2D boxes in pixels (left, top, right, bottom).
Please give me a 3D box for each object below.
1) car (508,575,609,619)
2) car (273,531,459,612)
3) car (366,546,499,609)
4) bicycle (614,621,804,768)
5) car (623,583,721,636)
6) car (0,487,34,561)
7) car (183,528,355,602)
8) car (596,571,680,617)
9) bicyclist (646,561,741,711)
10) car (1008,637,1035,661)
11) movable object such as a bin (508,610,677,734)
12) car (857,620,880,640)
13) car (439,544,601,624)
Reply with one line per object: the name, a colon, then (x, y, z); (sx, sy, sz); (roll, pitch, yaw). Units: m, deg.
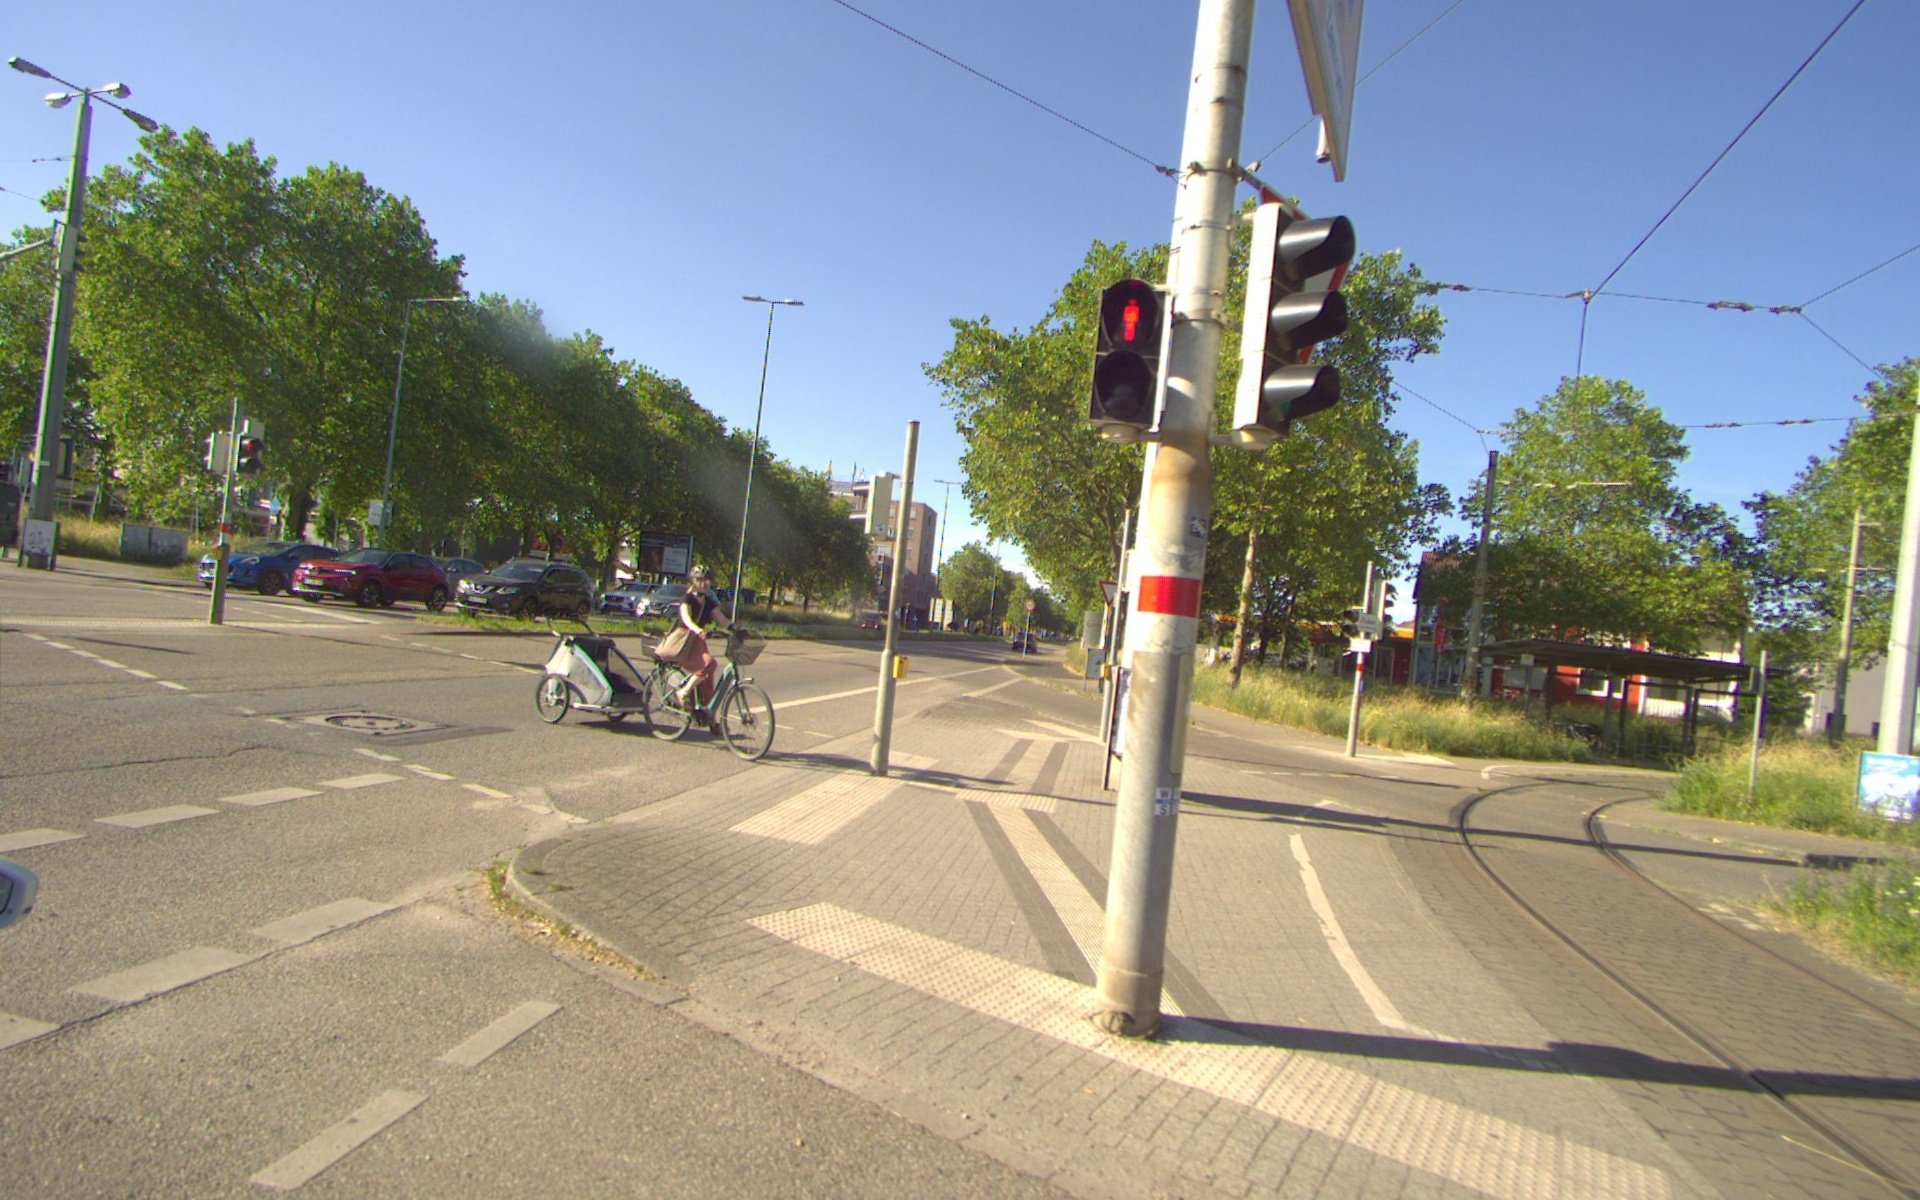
car: (-16.642, -0.077, 41.976); (1.898, 1.424, 4.574); (6, -1, 6)
car: (-15.060, -0.647, 25.806); (1.781, 1.620, 4.093); (6, -1, 9)
car: (-17.832, -0.705, 34.239); (1.898, 1.698, 4.179); (7, -1, 5)
bicycle: (-2.415, 0.874, 9.602); (1.788, 1.132, 0.467); (6, 0, 27)
car: (-10.473, 0.391, 36.925); (1.962, 1.637, 4.003); (6, -1, 6)
car: (-30.055, -2.506, 28.483); (5.058, 2.095, 2.117); (7, -1, -27)
car: (-18.780, -0.888, 27.558); (1.680, 1.620, 3.862); (6, -1, 5)
car: (-15.289, -0.239, 48.050); (1.872, 1.701, 4.783); (6, -3, 6)
bicyclist: (-2.561, 0.350, 9.682); (0.555, 1.357, 0.511); (6, 0, 24)
car: (5.156, 4.090, 83.925); (1.792, 1.724, 3.777); (7, -2, 7)
movable object such as a bin: (-3.809, 0.734, 10.455); (1.293, 1.081, 0.911); (6, 0, 26)
car: (-8.259, 2.703, 91.004); (1.346, 1.636, 3.211); (3, -1, 5)
car: (-11.577, -0.348, 26.865); (1.884, 1.732, 4.498); (6, -1, 6)
